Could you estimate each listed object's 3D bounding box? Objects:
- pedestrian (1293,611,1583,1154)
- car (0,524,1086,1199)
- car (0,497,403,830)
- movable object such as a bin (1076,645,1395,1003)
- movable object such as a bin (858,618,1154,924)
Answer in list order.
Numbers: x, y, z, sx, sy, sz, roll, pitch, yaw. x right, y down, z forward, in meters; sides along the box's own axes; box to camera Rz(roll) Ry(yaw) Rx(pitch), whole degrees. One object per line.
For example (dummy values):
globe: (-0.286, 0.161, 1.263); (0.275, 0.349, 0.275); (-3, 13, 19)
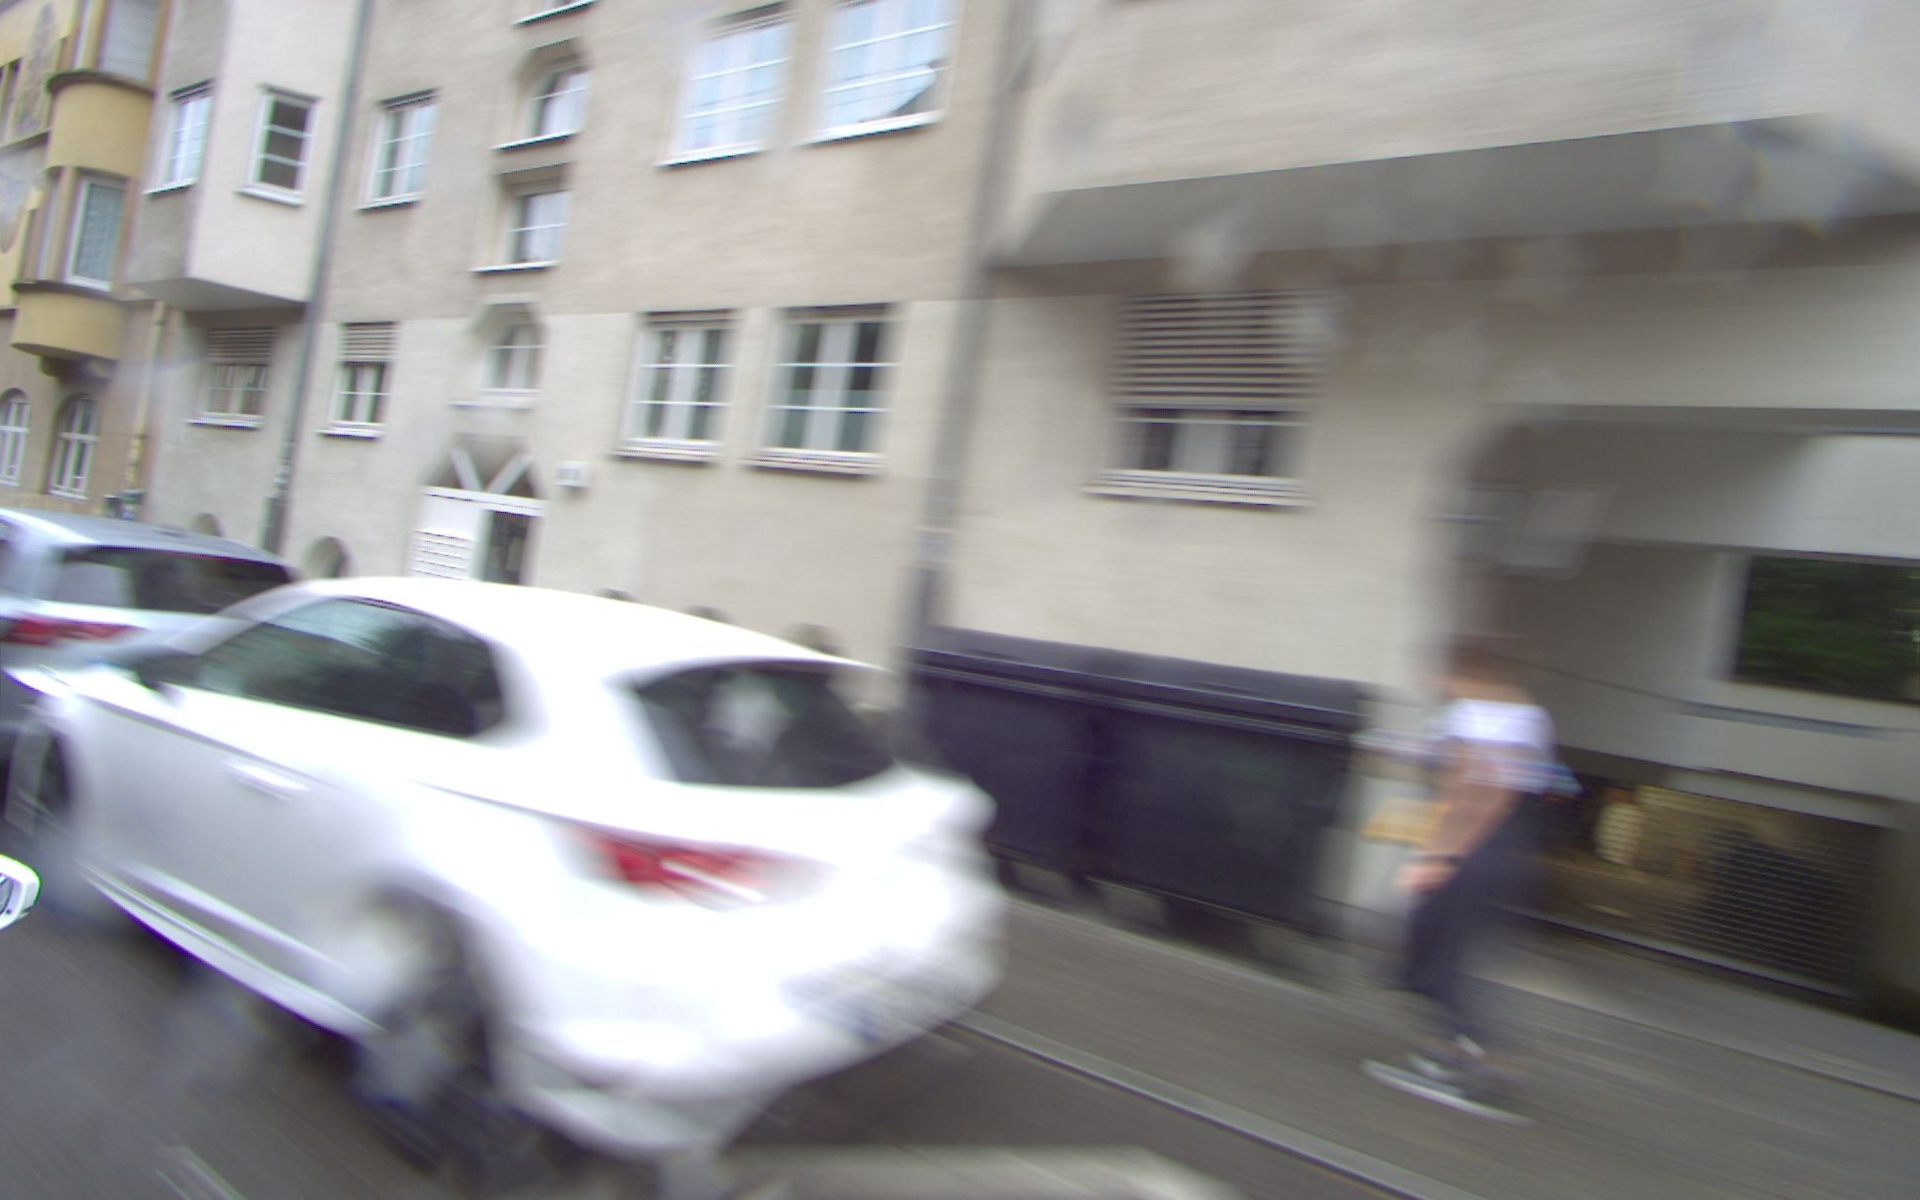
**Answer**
pedestrian: (1.829, 0.960, 3.821); (0.742, 1.707, 0.806); (6, -1, 31)
car: (-1.924, 0.647, 3.892); (4.322, 1.401, 1.793); (6, -2, 32)
car: (-5.723, 0.183, 6.298); (4.301, 1.484, 1.836); (6, -2, 30)
movable object such as a bin: (1.465, 1.073, 5.291); (1.251, 1.485, 0.982); (6, -2, 32)
movable object such as a bin: (0.291, 0.954, 6.060); (1.301, 1.485, 1.020); (6, -2, 32)
